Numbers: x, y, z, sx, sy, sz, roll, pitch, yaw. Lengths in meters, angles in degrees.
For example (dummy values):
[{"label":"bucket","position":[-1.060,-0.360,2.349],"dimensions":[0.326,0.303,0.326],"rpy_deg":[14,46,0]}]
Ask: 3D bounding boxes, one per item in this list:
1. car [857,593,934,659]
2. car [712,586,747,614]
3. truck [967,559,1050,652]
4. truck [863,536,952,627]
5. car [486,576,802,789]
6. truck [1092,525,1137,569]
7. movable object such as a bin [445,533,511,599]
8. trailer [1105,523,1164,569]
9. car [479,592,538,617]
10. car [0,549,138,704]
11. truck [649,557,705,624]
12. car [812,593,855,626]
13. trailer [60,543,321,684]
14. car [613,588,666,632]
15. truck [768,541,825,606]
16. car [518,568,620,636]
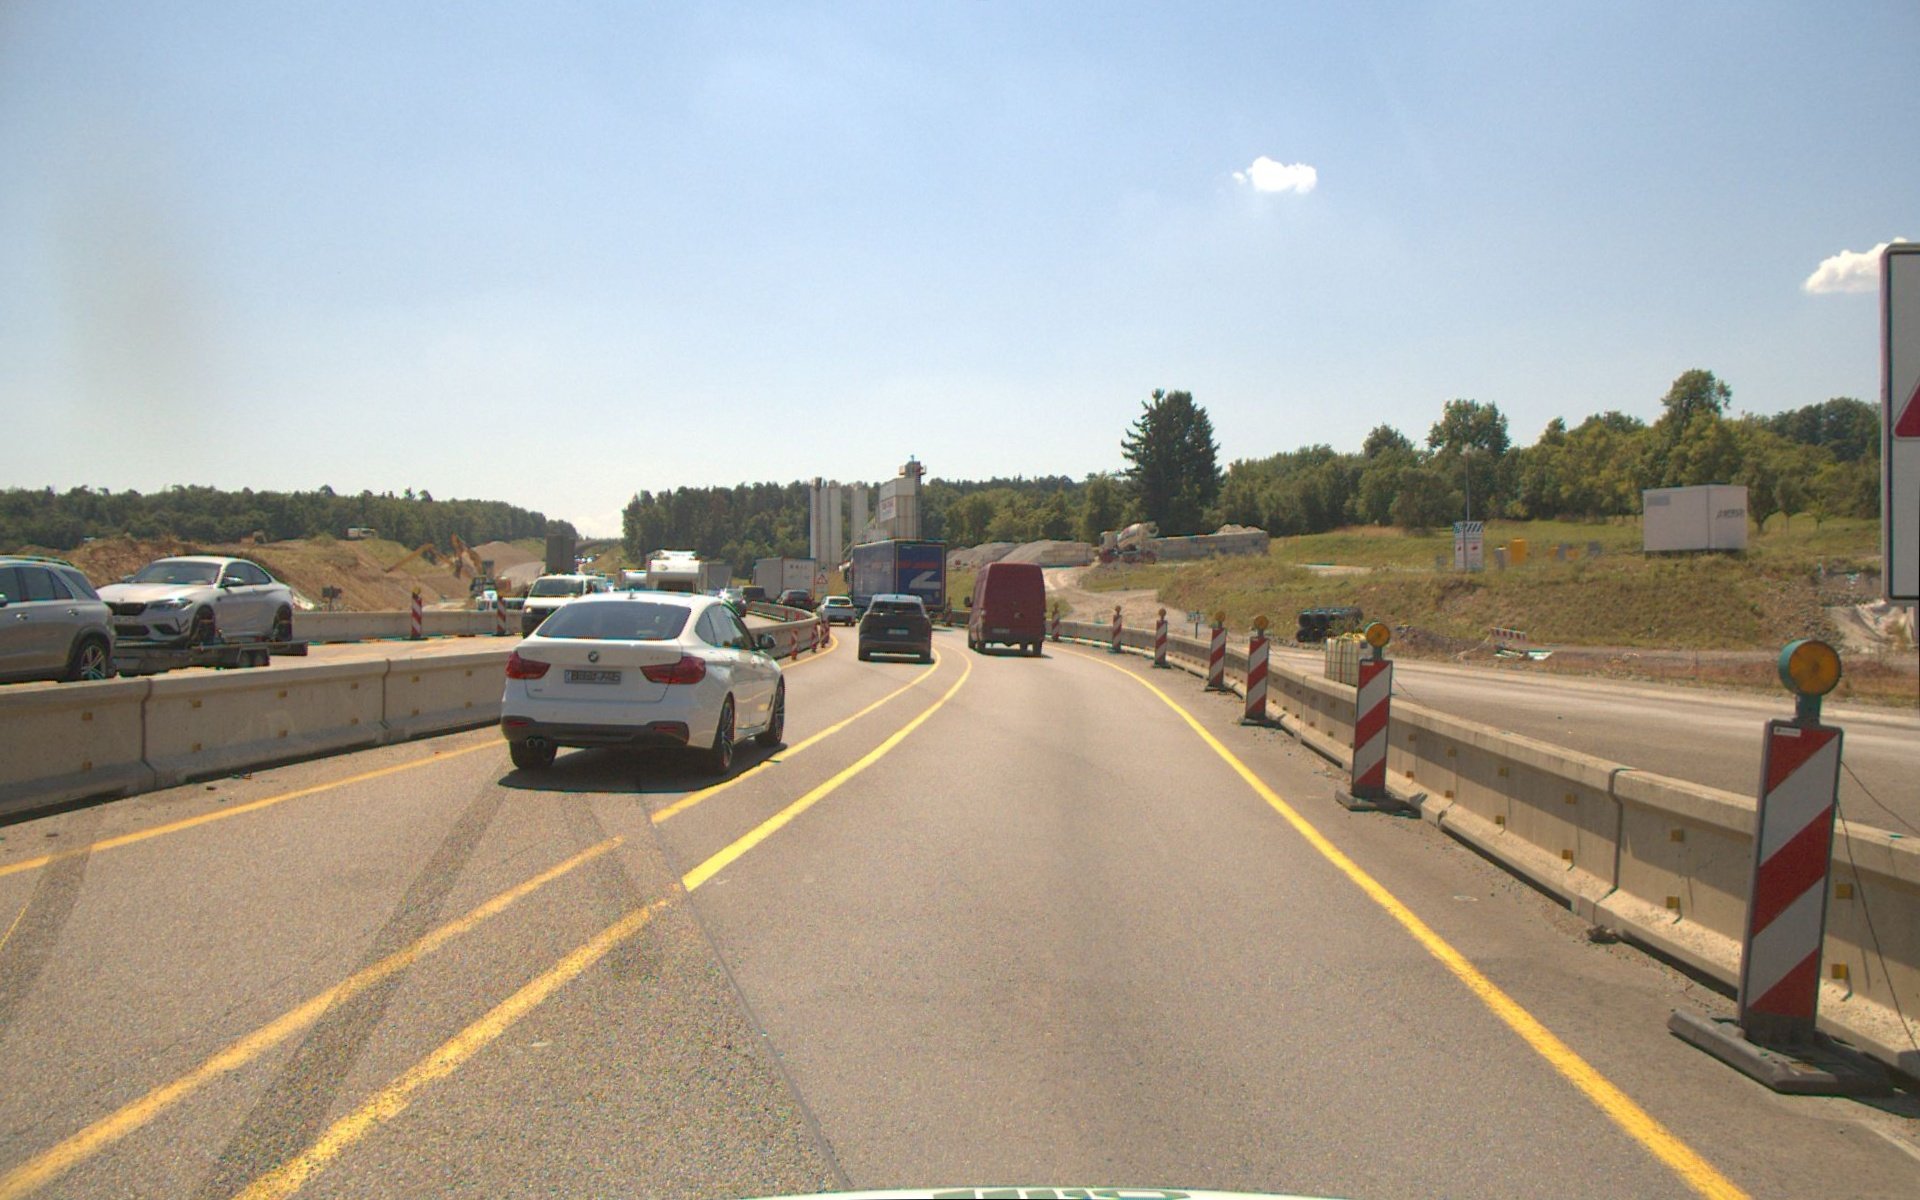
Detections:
[{"label":"car","position":[-1.570,0.613,41.477],"dimensions":[1.758,1.561,3.931],"rpy_deg":[0,0,0]},{"label":"car","position":[-13.766,-0.031,99.042],"dimensions":[1.627,1.633,4.394],"rpy_deg":[0,0,-2]},{"label":"truck","position":[1.409,0.149,50.992],"dimensions":[2.069,2.679,6.481],"rpy_deg":[0,0,-3]},{"label":"truck","position":[-2.687,-0.899,81.632],"dimensions":[2.963,4.225,8.247],"rpy_deg":[0,0,-12]},{"label":"car","position":[-2.681,0.616,15.279],"dimensions":[1.758,1.561,5.074],"rpy_deg":[2,0,2]},{"label":"truck","position":[15.023,-5.130,160.915],"dimensions":[2.709,4.167,4.070],"rpy_deg":[0,0,-24]},{"label":"movable object such as a bin","position":[-58.689,-4.108,201.559],"dimensions":[7.507,7.848,3.433],"rpy_deg":[0,0,-14]},{"label":"trailer","position":[16.540,-5.082,157.399],"dimensions":[2.719,4.186,6.696],"rpy_deg":[0,0,-23]},{"label":"car","position":[-27.951,0.264,102.407],"dimensions":[3.173,1.481,1.524],"rpy_deg":[0,0,-41]},{"label":"car","position":[-12.290,0.337,20.260],"dimensions":[1.827,1.838,4.908],"rpy_deg":[-1,0,2]},{"label":"truck","position":[-13.709,-0.468,80.421],"dimensions":[2.395,3.125,7.236],"rpy_deg":[0,0,-7]},{"label":"car","position":[-6.269,0.452,81.852],"dimensions":[1.769,1.607,3.991],"rpy_deg":[0,0,-9]},{"label":"trailer","position":[-12.098,0.178,26.367],"dimensions":[1.826,2.057,4.438],"rpy_deg":[0,0,4]},{"label":"car","position":[-12.522,0.373,64.791],"dimensions":[1.687,1.656,4.330],"rpy_deg":[0,0,-6]},{"label":"truck","position":[-12.605,-1.966,126.935],"dimensions":[3.617,4.773,9.729],"rpy_deg":[0,0,-10]},{"label":"car","position":[-11.928,0.037,50.796],"dimensions":[1.827,1.987,4.893],"rpy_deg":[0,0,2]}]
